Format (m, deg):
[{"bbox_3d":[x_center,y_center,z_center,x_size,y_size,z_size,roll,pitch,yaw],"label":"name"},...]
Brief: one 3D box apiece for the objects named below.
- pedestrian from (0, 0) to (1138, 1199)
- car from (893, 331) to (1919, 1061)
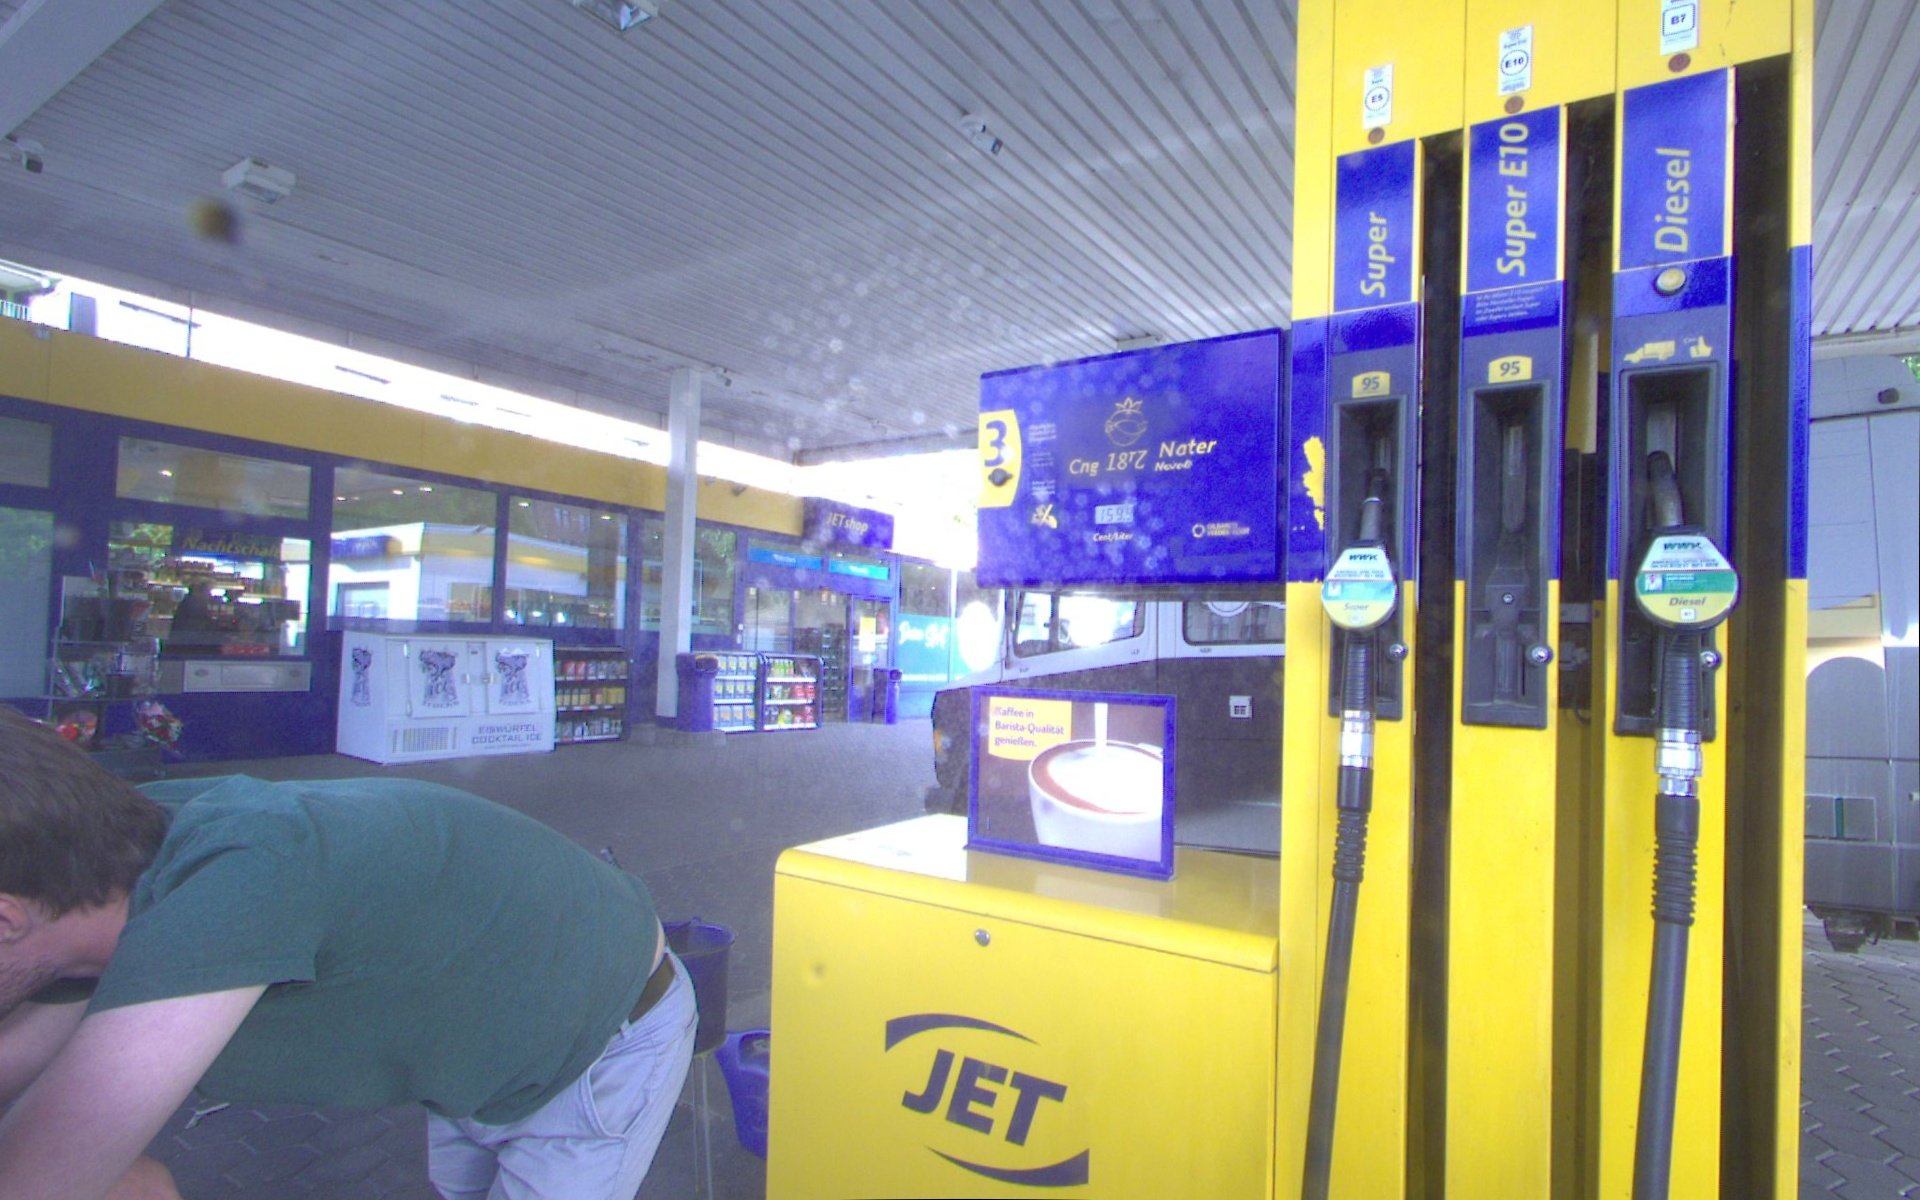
[{"bbox_3d":[-0.513,0.583,1.083,0.981,1.750,1.175,-2,-2,36],"label":"pedestrian"},{"bbox_3d":[2.359,0.441,6.000,5.271,2.759,2.193,-1,-3,34],"label":"car"}]
